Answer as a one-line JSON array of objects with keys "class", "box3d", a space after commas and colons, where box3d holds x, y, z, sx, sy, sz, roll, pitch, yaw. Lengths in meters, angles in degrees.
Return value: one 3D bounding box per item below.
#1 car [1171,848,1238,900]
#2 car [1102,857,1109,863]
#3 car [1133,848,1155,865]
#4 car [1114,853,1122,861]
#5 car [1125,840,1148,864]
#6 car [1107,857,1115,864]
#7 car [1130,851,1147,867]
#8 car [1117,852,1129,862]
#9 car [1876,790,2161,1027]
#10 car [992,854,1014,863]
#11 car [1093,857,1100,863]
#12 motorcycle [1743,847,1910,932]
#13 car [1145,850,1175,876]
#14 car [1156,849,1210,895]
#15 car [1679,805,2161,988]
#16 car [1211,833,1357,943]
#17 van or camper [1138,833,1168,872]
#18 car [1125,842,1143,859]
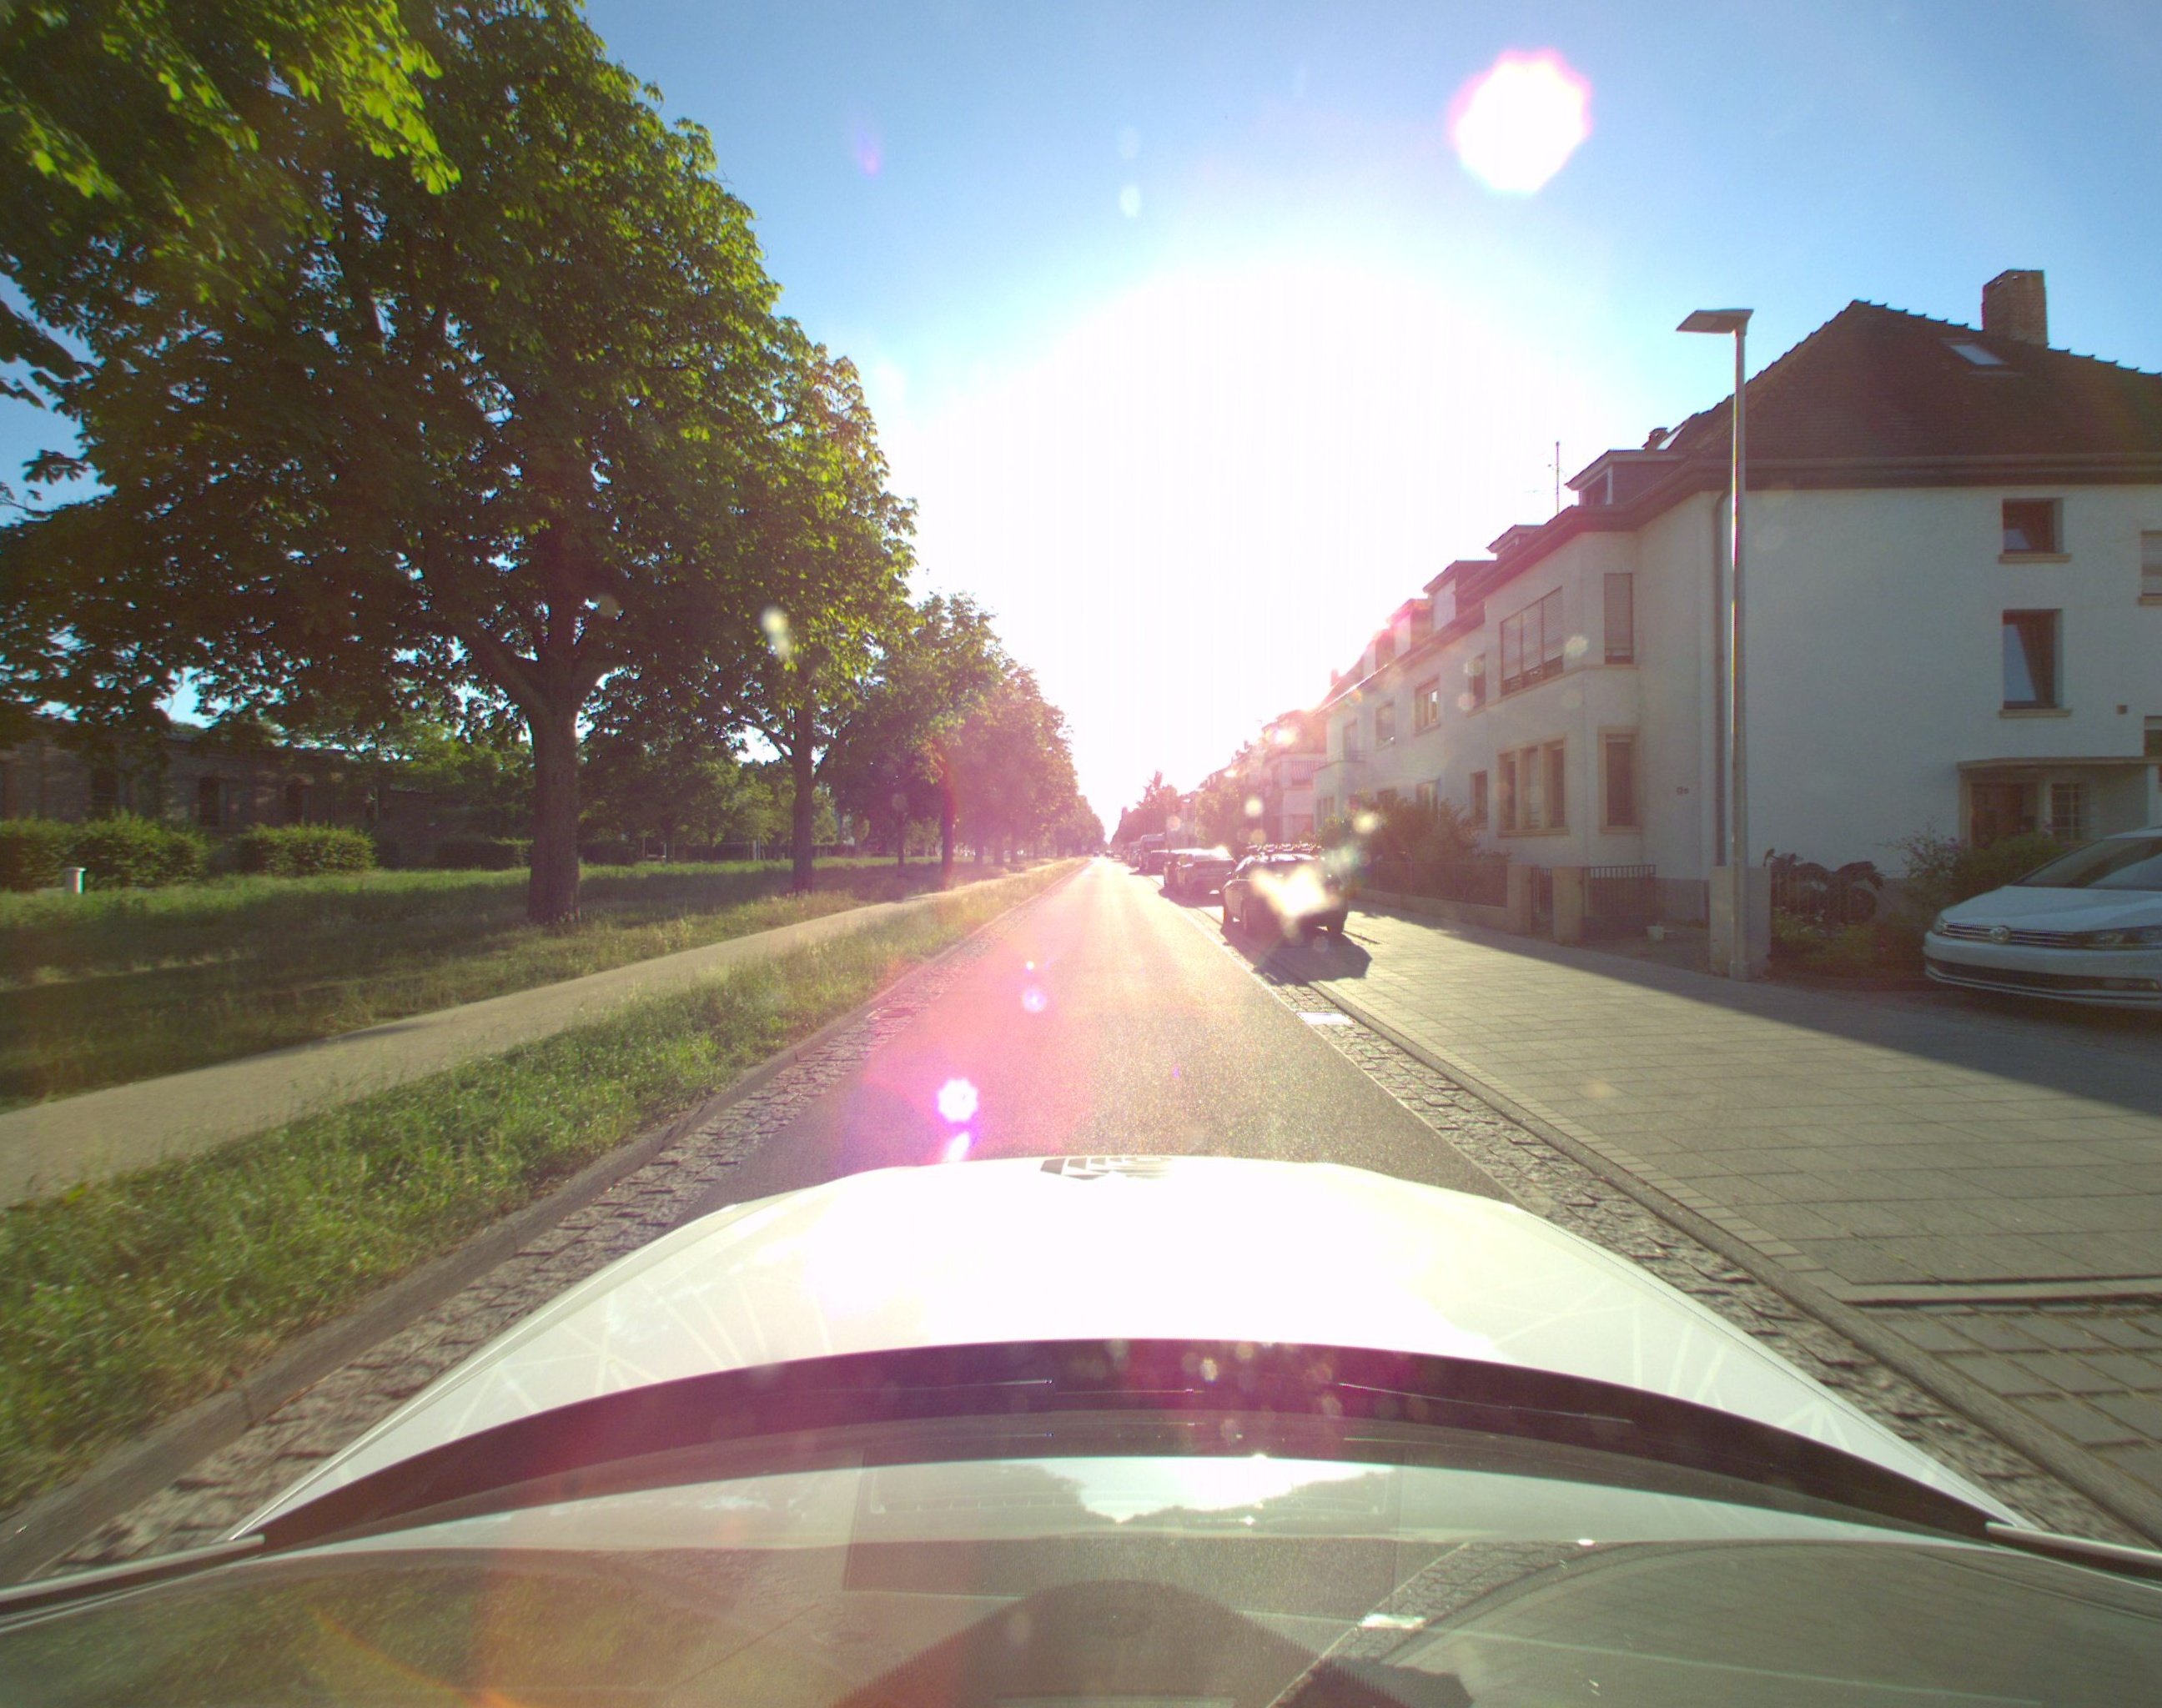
[{"class": "car", "box3d": [4.133, 0.626, 27.843, 1.711, 1.574, 4.211, -3, 0, 1]}, {"class": "car", "box3d": [6.851, 1.743, 228.253, 1.856, 1.597, 3.871, 1, 0, 1]}, {"class": "car", "box3d": [6.081, 0.220, 79.537, 1.831, 1.636, 4.131, -2, 0, 0]}, {"class": "car", "box3d": [8.055, 0.623, 178.777, 1.643, 1.530, 3.854, -2, 0, 3]}, {"class": "car", "box3d": [6.208, -0.254, 91.201, 2.119, 2.532, 5.188, -2, 0, 0]}, {"class": "car", "box3d": [7.329, 1.516, 197.330, 1.856, 1.597, 3.894, 1, 0, 1]}, {"class": "car", "box3d": [5.976, 0.479, 84.959, 1.643, 1.530, 3.854, -2, 0, 3]}, {"class": "car", "box3d": [6.352, 0.443, 122.912, 1.643, 1.530, 3.854, -2, 0, 3]}, {"class": "car", "box3d": [9.724, 0.419, 6.941, 4.205, 1.726, 1.852, 1, 0, -2]}, {"class": "car", "box3d": [-15.702, 0.881, 164.425, 4.341, 1.764, 1.995, 1, 0, -7]}, {"class": "car", "box3d": [4.337, 1.638, 229.442, 1.856, 1.597, 3.871, 1, 0, 1]}, {"class": "motorcycle", "box3d": [11.676, 0.546, 12.788, 2.063, 1.248, 0.598, -2, 0, -1]}, {"class": "car", "box3d": [5.233, 0.545, 54.412, 1.657, 1.593, 4.088, -3, 0, 2]}, {"class": "car", "box3d": [4.115, 0.658, 33.462, 1.825, 1.685, 4.418, 1, 1, 2]}, {"class": "car", "box3d": [9.383, 0.409, 9.018, 4.206, 1.726, 1.852, -1, 0, -2]}, {"class": "car", "box3d": [3.772, 0.556, 15.936, 1.787, 1.771, 4.474, -3, 0, 2]}, {"class": "van or camper", "box3d": [5.322, -0.111, 61.020, 1.936, 2.777, 5.942, 1, 0, 2]}, {"class": "car", "box3d": [6.829, -0.427, 105.060, 2.118, 2.067, 5.191, -2, 0, 2]}]
